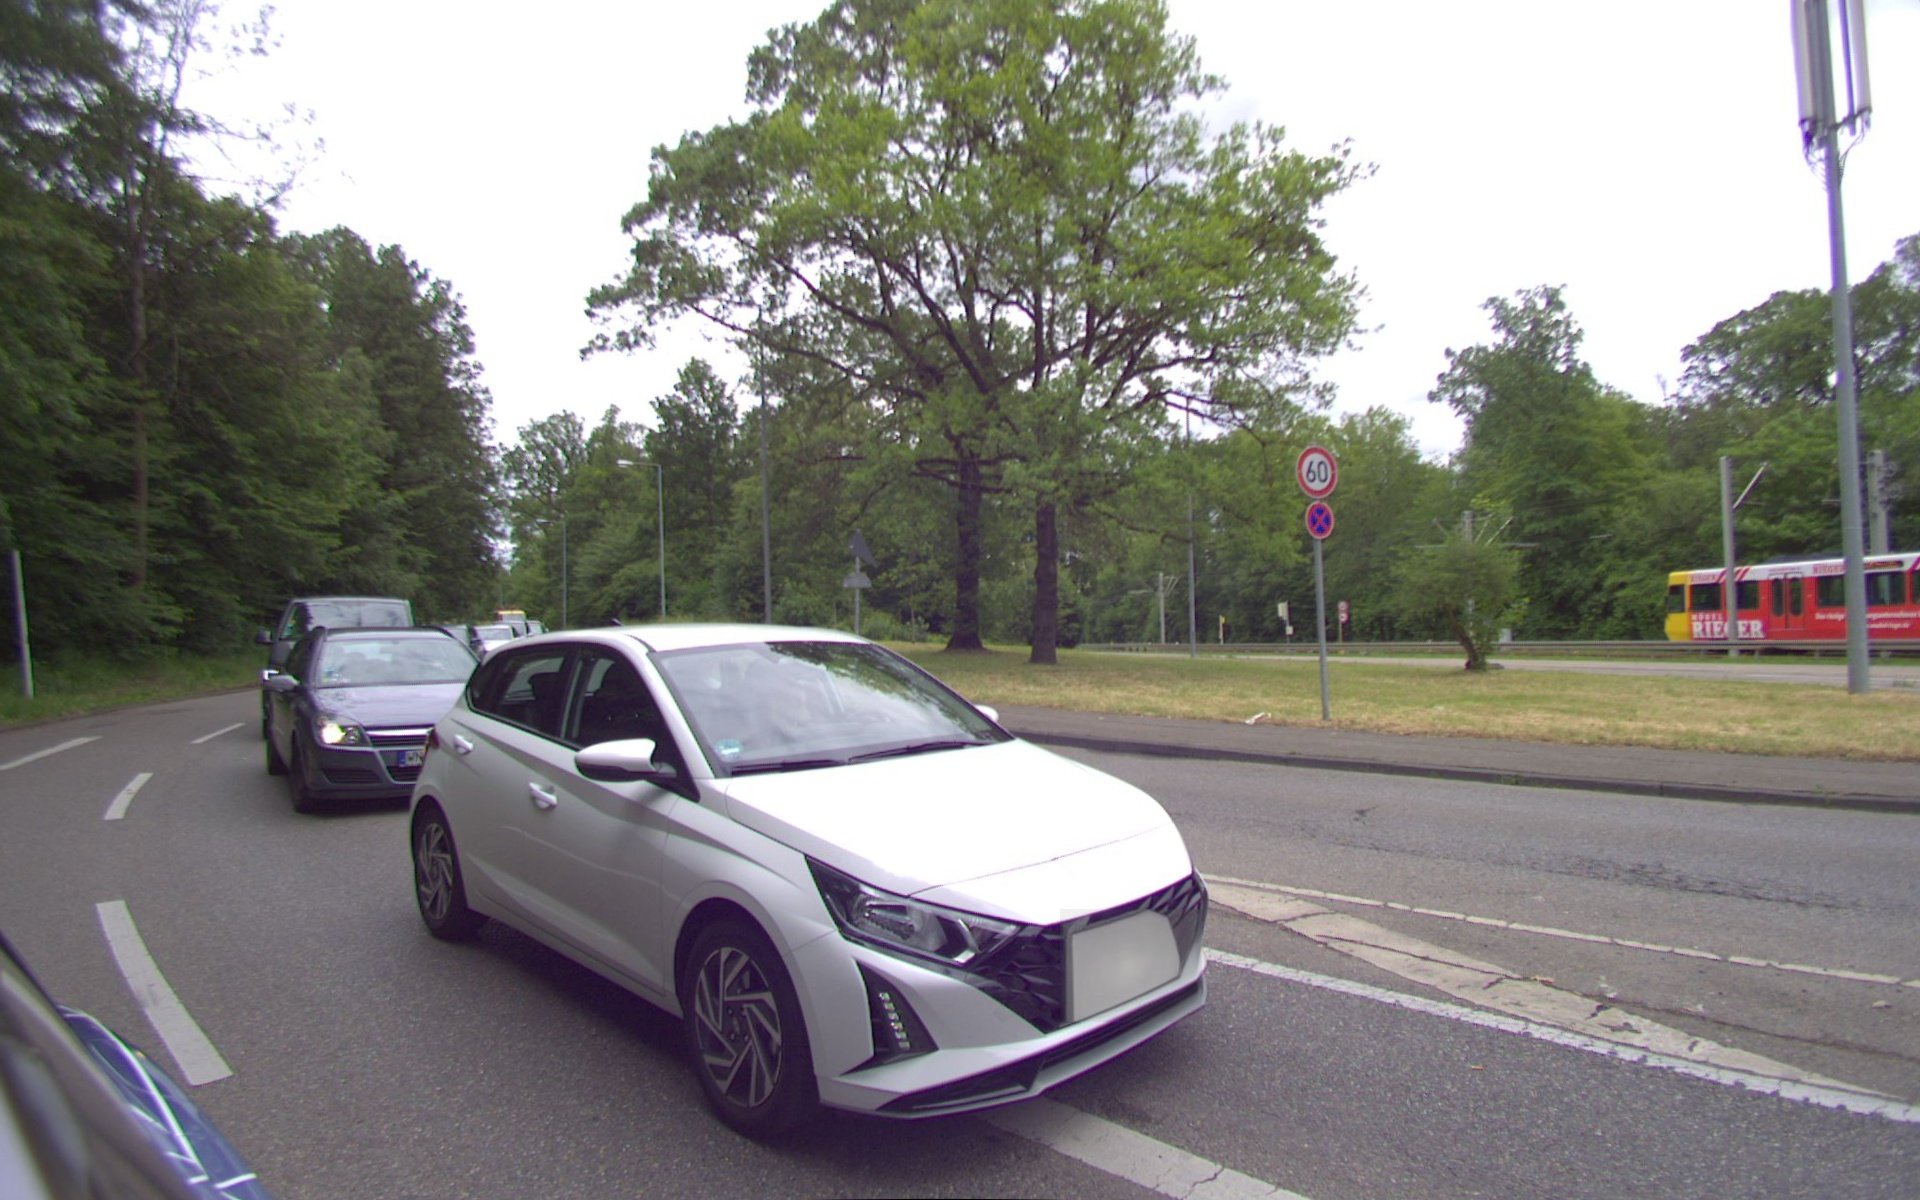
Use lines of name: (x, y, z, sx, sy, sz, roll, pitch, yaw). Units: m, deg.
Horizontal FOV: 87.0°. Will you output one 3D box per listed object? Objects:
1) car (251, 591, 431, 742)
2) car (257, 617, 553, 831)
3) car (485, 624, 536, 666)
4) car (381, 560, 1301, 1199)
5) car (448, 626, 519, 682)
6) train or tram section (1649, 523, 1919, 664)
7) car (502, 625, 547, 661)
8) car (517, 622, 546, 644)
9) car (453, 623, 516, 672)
car: (-9.014, 0.895, 15.100, 1.957, 1.887, 4.546, 0, -2, -27)
car: (-5.347, 0.941, 9.426, 1.775, 1.490, 4.480, 1, -2, -37)
car: (-17.565, 1.727, 39.629, 1.748, 1.511, 3.885, 0, -2, -23)
car: (-0.892, 0.721, 4.223, 4.075, 1.490, 1.631, -2, -2, 45)
car: (-13.896, 1.532, 29.674, 1.748, 1.511, 3.885, 0, -2, -23)
train or tram section: (31.750, -0.218, 33.831, 2.919, 4.451, 18.756, 0, 0, -6)
car: (-19.164, 1.878, 44.576, 1.748, 1.511, 3.885, 0, -2, -23)
car: (-30.805, 2.368, 72.776, 1.749, 1.511, 3.885, 0, -2, -20)
car: (-15.678, 1.538, 33.534, 1.748, 1.511, 3.885, 0, -2, -23)
